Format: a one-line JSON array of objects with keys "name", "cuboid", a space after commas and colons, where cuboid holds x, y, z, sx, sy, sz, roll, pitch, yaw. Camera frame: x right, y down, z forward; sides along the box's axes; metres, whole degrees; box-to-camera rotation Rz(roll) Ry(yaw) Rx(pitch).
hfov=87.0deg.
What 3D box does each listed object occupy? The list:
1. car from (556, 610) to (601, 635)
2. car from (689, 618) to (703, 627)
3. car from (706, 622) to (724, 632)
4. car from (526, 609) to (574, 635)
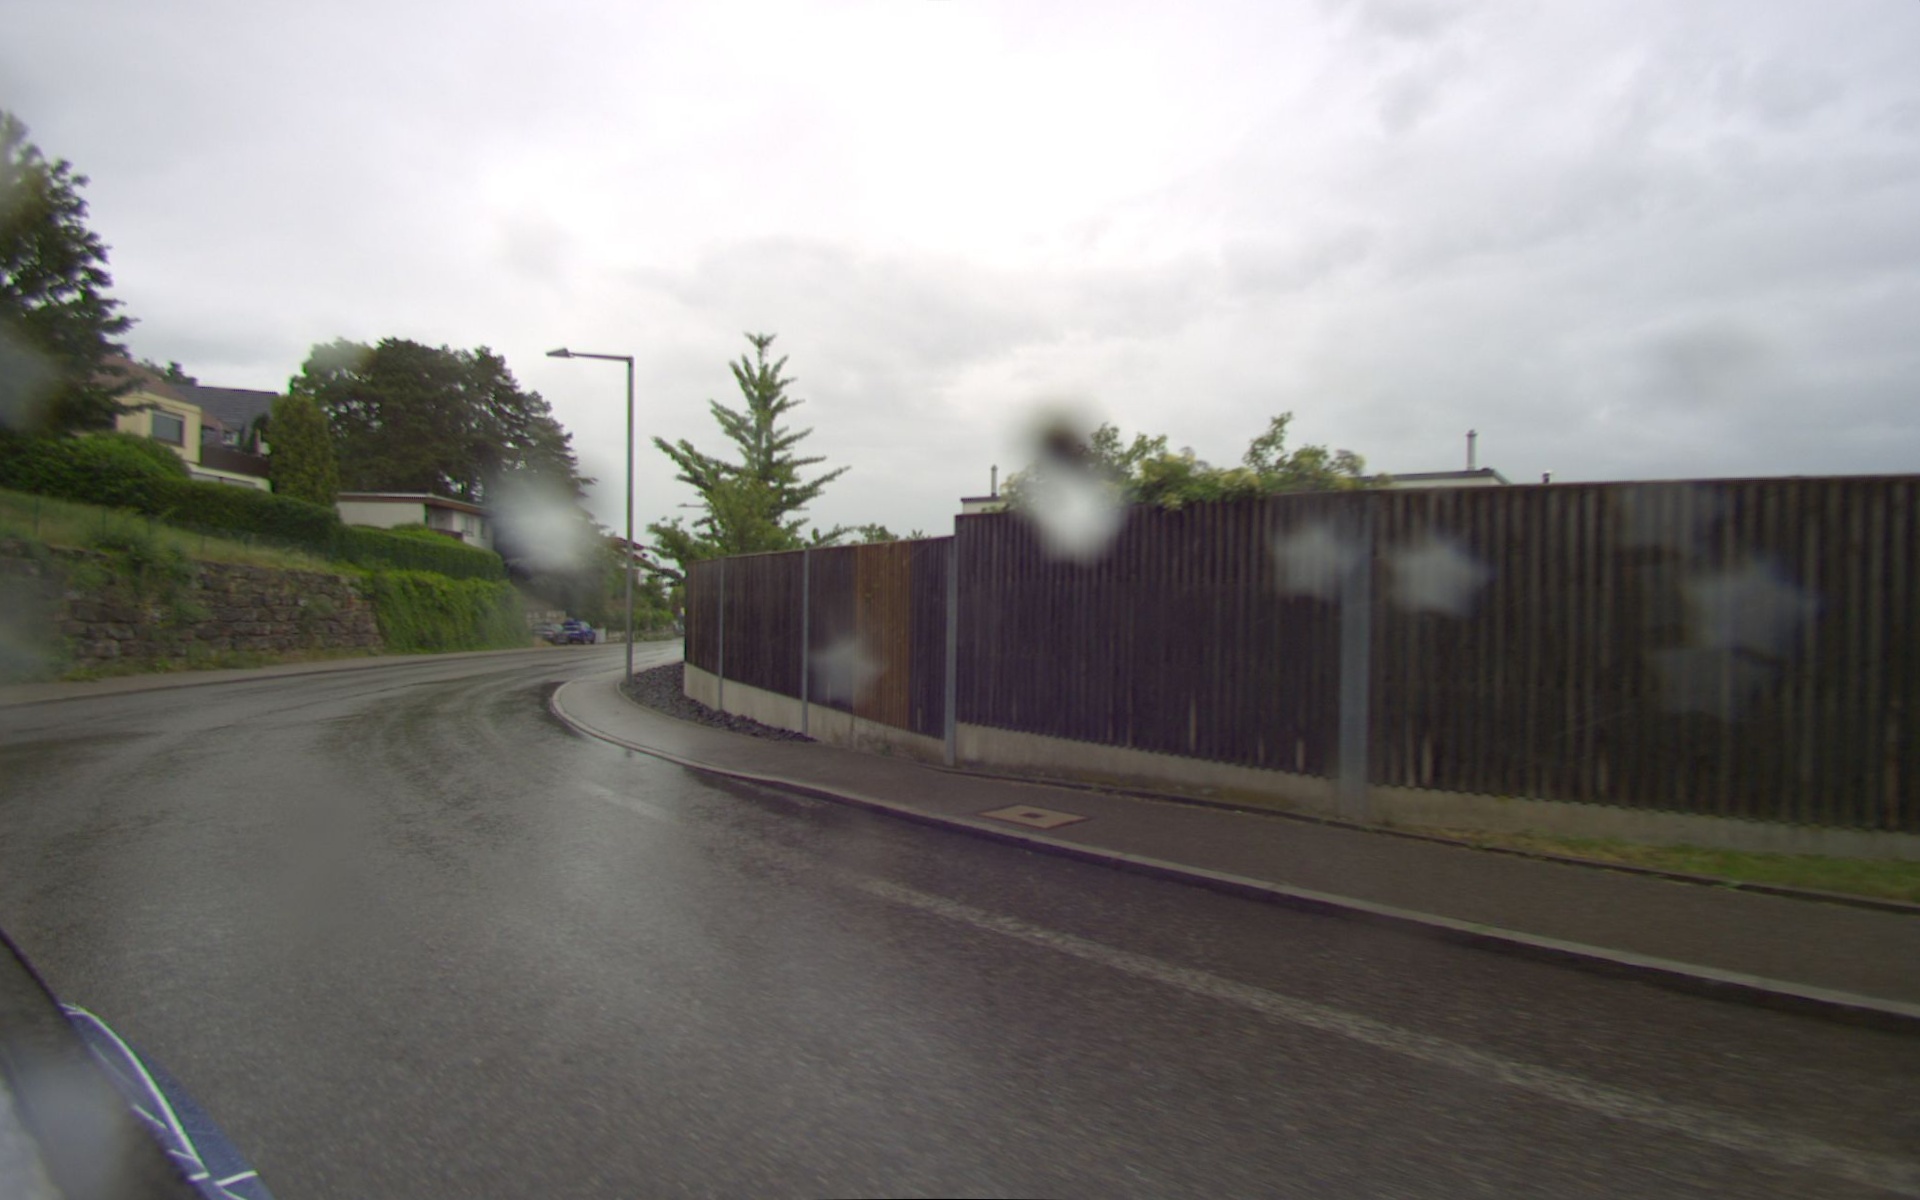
[{"name": "car", "cuboid": [-27.647, 1.612, 73.472, 1.969, 1.683, 4.551, 2, -1, -6]}, {"name": "car", "cuboid": [-45.517, 3.919, 174.424, 1.828, 1.481, 3.704, -1, 0, -6]}, {"name": "car", "cuboid": [-37.361, 4.105, 154.282, 1.821, 1.471, 4.282, -1, 0, -26]}, {"name": "car", "cuboid": [-27.150, 1.458, 67.127, 1.788, 1.575, 4.015, 2, -1, -5]}]
